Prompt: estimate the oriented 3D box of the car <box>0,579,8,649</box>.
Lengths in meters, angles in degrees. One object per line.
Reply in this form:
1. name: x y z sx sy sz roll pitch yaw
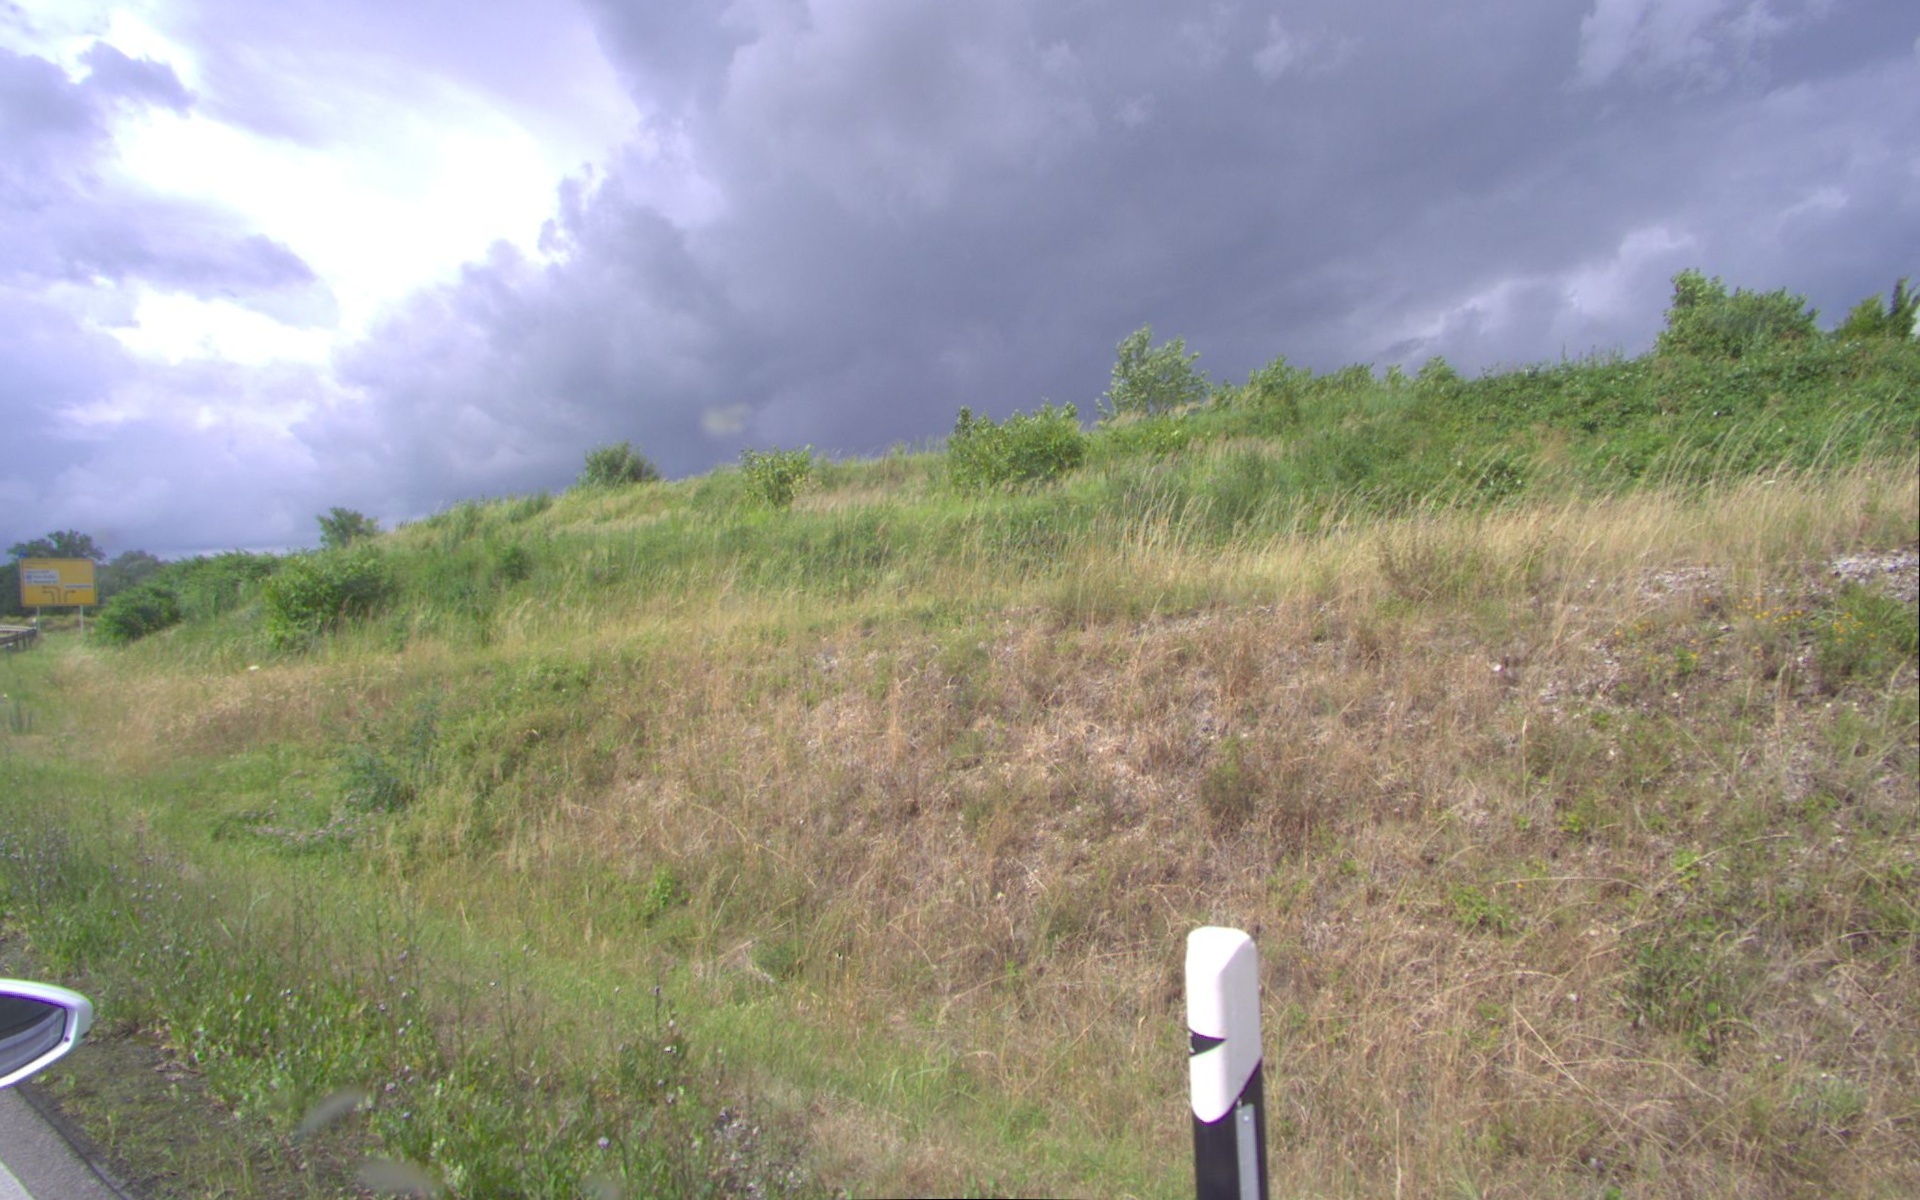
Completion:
1. car: -43.338 0.610 43.504 2.292 3.107 6.610 1 -2 -39
